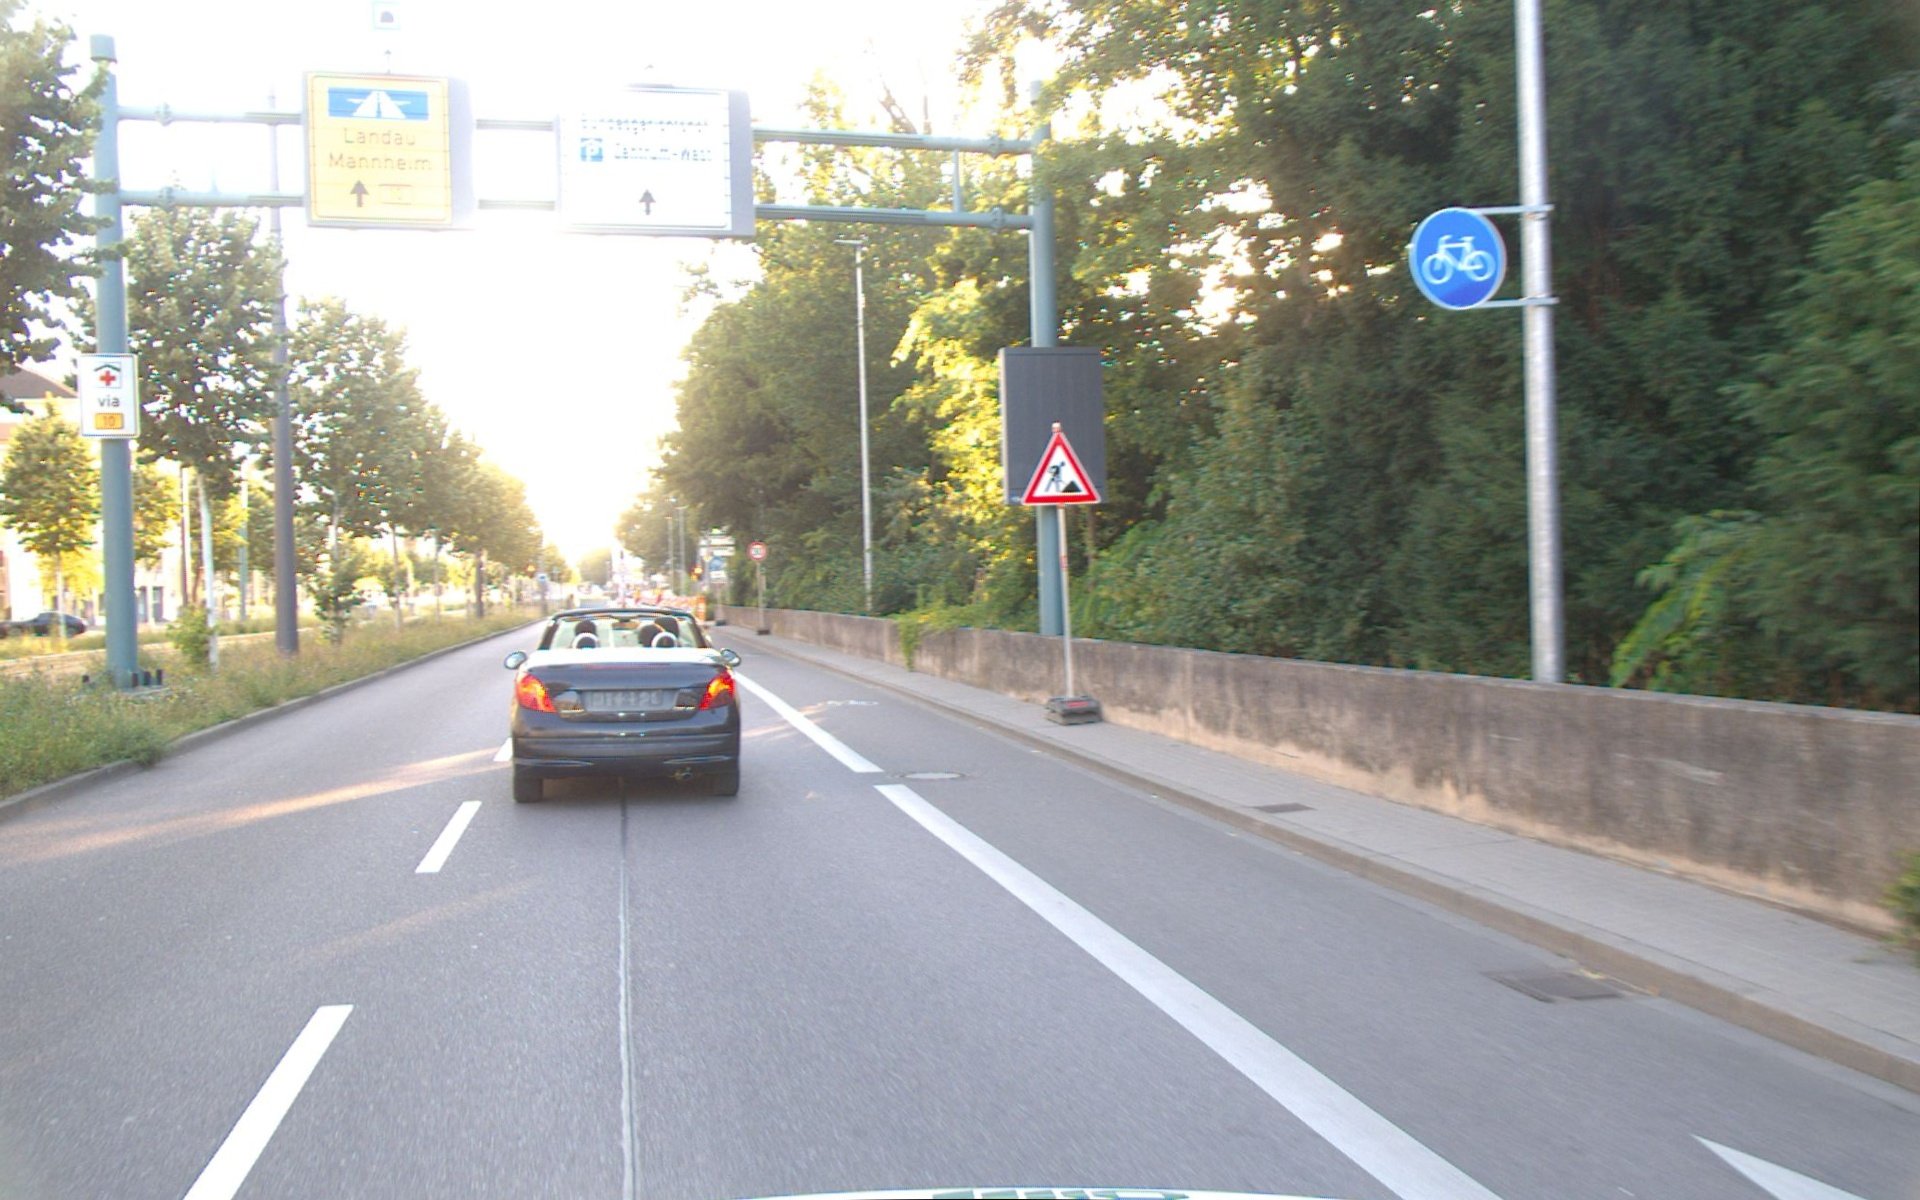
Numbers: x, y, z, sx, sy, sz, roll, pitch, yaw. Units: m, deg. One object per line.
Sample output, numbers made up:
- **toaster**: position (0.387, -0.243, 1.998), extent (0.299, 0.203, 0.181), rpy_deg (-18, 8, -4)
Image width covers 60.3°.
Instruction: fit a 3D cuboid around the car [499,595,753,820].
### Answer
- **car**: position (-2.786, 0.726, 13.323), extent (1.690, 1.475, 3.885), rpy_deg (-2, 0, -15)
